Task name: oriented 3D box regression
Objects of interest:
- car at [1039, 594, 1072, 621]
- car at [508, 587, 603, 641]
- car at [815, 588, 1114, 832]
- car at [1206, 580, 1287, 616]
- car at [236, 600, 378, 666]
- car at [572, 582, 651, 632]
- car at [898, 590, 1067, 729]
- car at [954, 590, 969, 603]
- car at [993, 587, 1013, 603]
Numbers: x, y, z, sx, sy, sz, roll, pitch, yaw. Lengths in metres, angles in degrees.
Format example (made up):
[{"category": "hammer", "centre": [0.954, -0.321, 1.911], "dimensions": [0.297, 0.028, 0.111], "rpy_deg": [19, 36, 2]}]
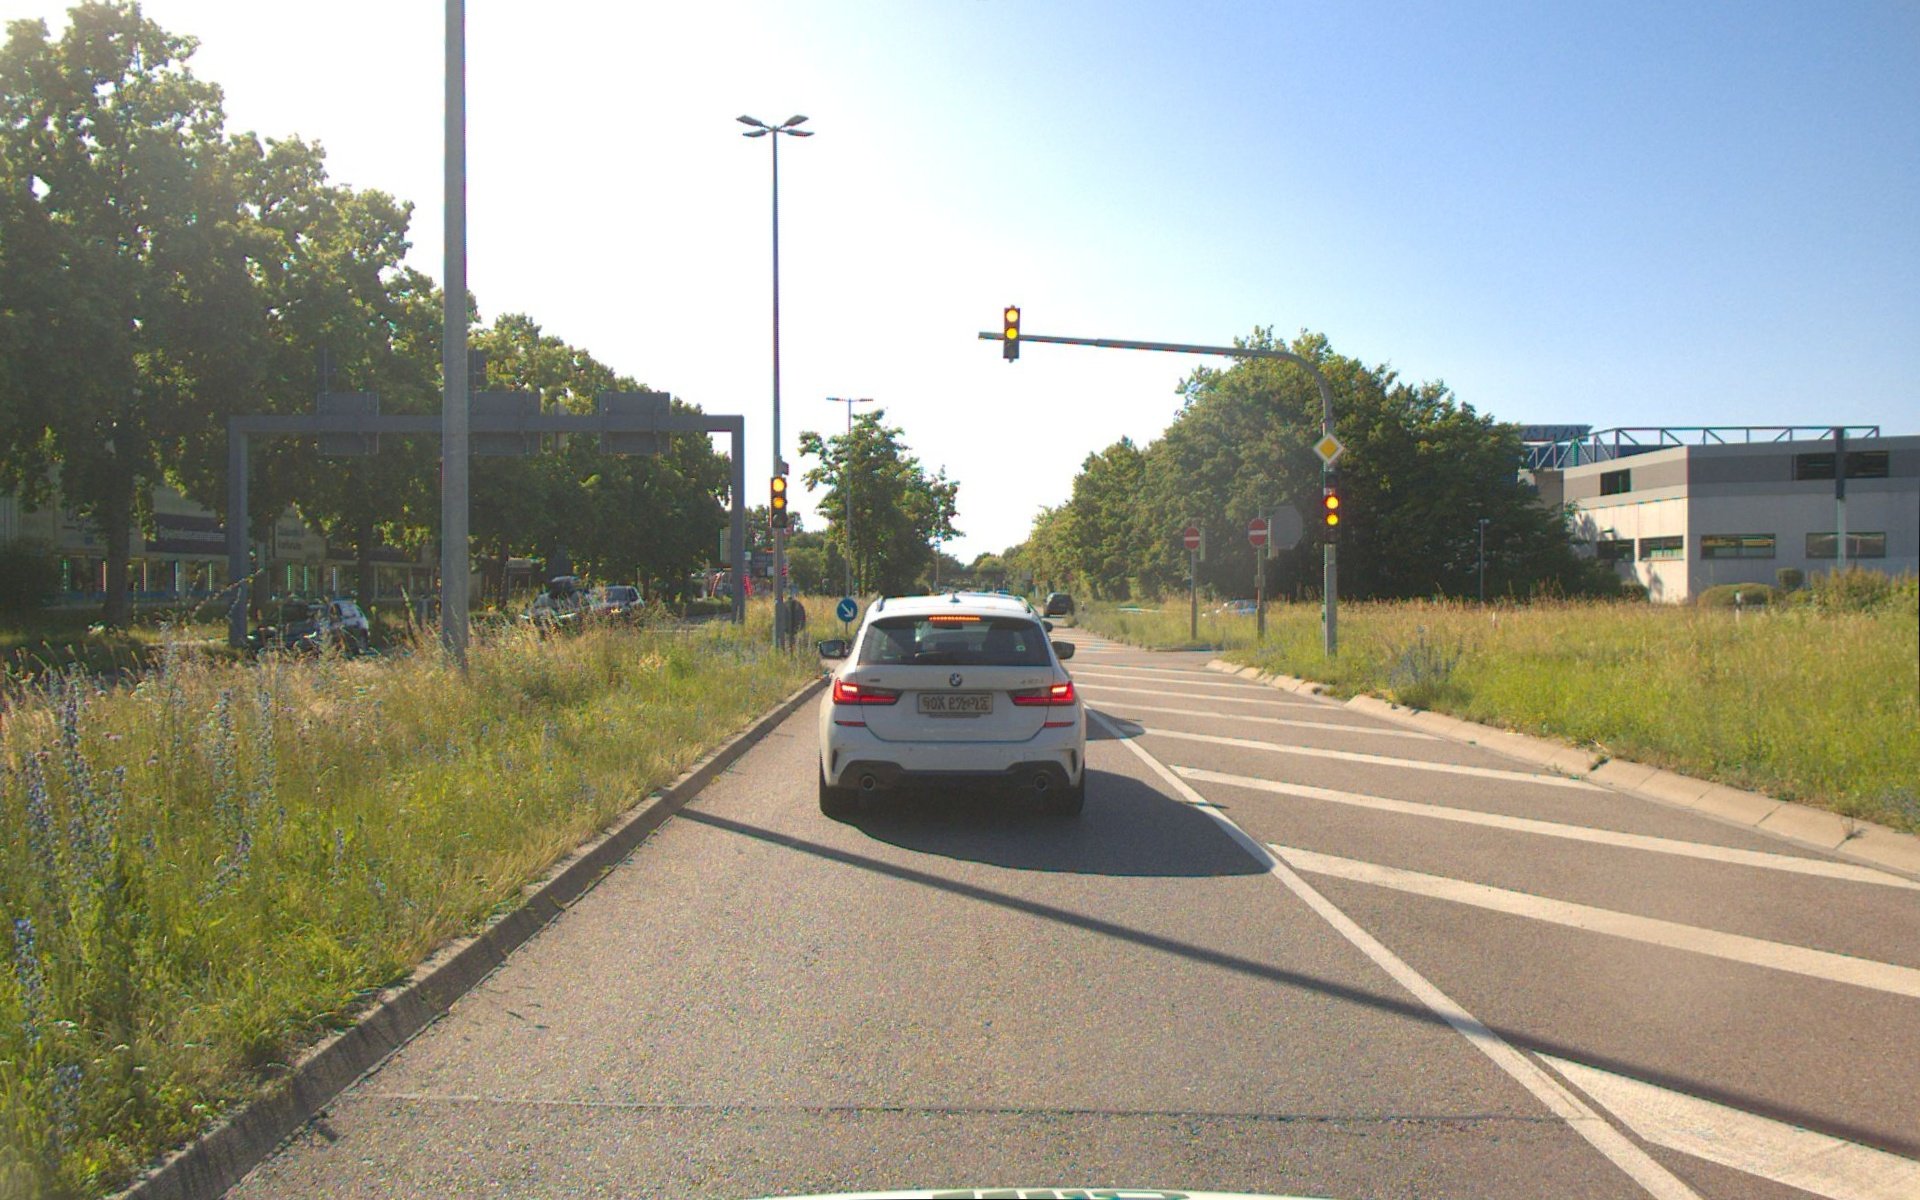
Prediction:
[{"category": "car", "centre": [5.948, 0.446, 103.276], "dimensions": [1.736, 1.583, 3.832], "rpy_deg": [0, 0, -2]}, {"category": "car", "centre": [-12.578, 0.408, 51.716], "dimensions": [1.838, 1.569, 4.572], "rpy_deg": [-2, 0, 0]}, {"category": "car", "centre": [0.027, 0.660, 12.438], "dimensions": [1.823, 1.480, 4.547], "rpy_deg": [0, 0, 0]}, {"category": "car", "centre": [12.741, -0.091, 73.805], "dimensions": [1.833, 1.525, 4.315], "rpy_deg": [0, 0, -18]}, {"category": "car", "centre": [-15.913, 0.760, 40.528], "dimensions": [1.744, 1.450, 4.381], "rpy_deg": [-2, 0, -1]}, {"category": "car", "centre": [-12.750, 0.225, 60.804], "dimensions": [1.902, 1.726, 4.629], "rpy_deg": [-2, 1, -1]}, {"category": "car", "centre": [0.223, 0.634, 20.190], "dimensions": [1.824, 1.480, 4.547], "rpy_deg": [0, 0, -1]}, {"category": "car", "centre": [0.136, -0.446, 208.728], "dimensions": [1.824, 1.592, 4.547], "rpy_deg": [0, 0, -1]}, {"category": "car", "centre": [4.372, -0.499, 168.093], "dimensions": [1.824, 1.592, 4.547], "rpy_deg": [0, 0, -1]}]
